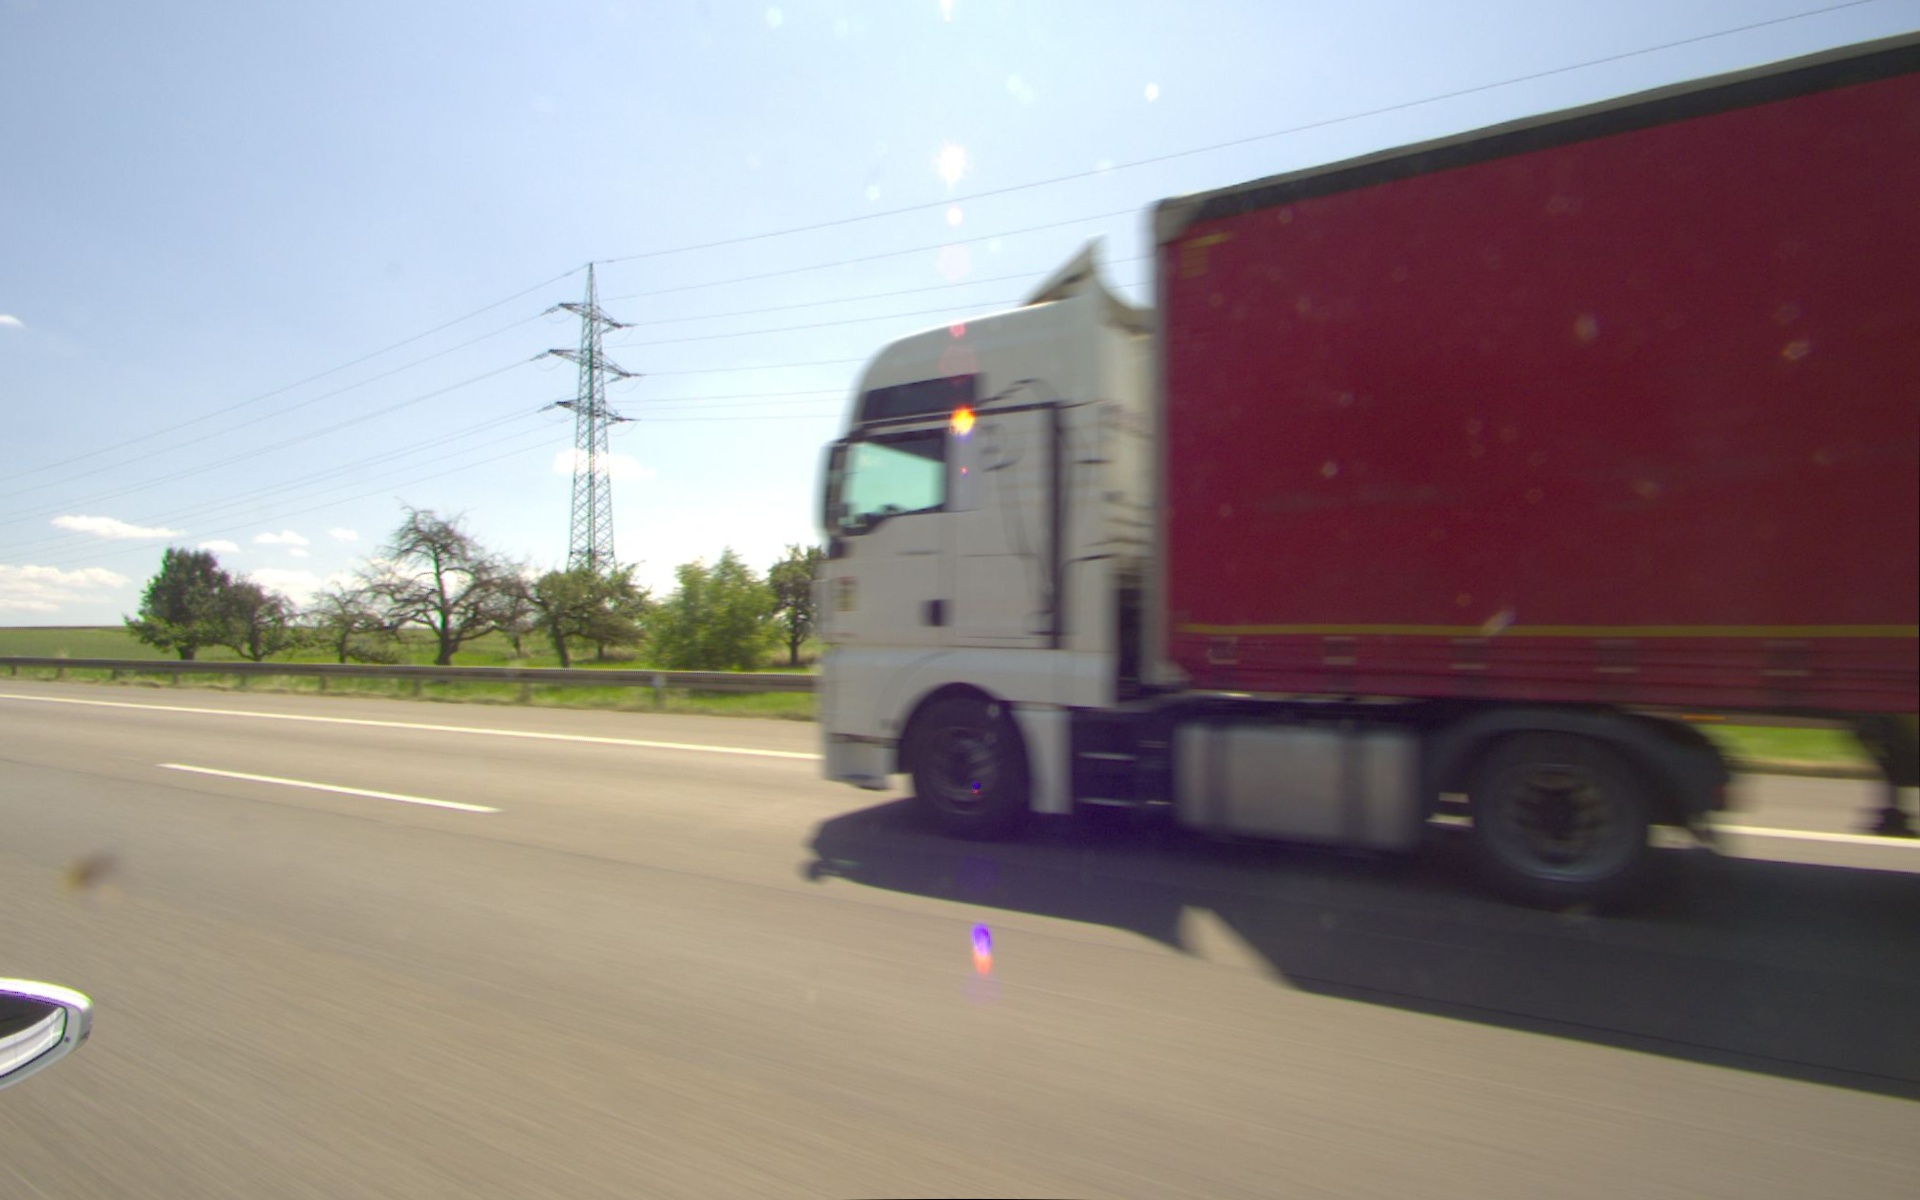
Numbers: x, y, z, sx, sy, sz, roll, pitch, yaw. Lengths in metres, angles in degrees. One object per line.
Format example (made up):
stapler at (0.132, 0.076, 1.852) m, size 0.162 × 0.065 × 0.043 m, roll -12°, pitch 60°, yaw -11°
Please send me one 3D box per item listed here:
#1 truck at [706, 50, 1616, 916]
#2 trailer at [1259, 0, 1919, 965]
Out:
truck at (1.212, -0.488, 7.582) m, size 6.159 × 4.207 × 2.557 m, roll -1°, pitch -1°, yaw 32°
trailer at (7.845, -0.656, 3.450) m, size 12.845 × 4.318 × 2.597 m, roll -1°, pitch -2°, yaw 32°
